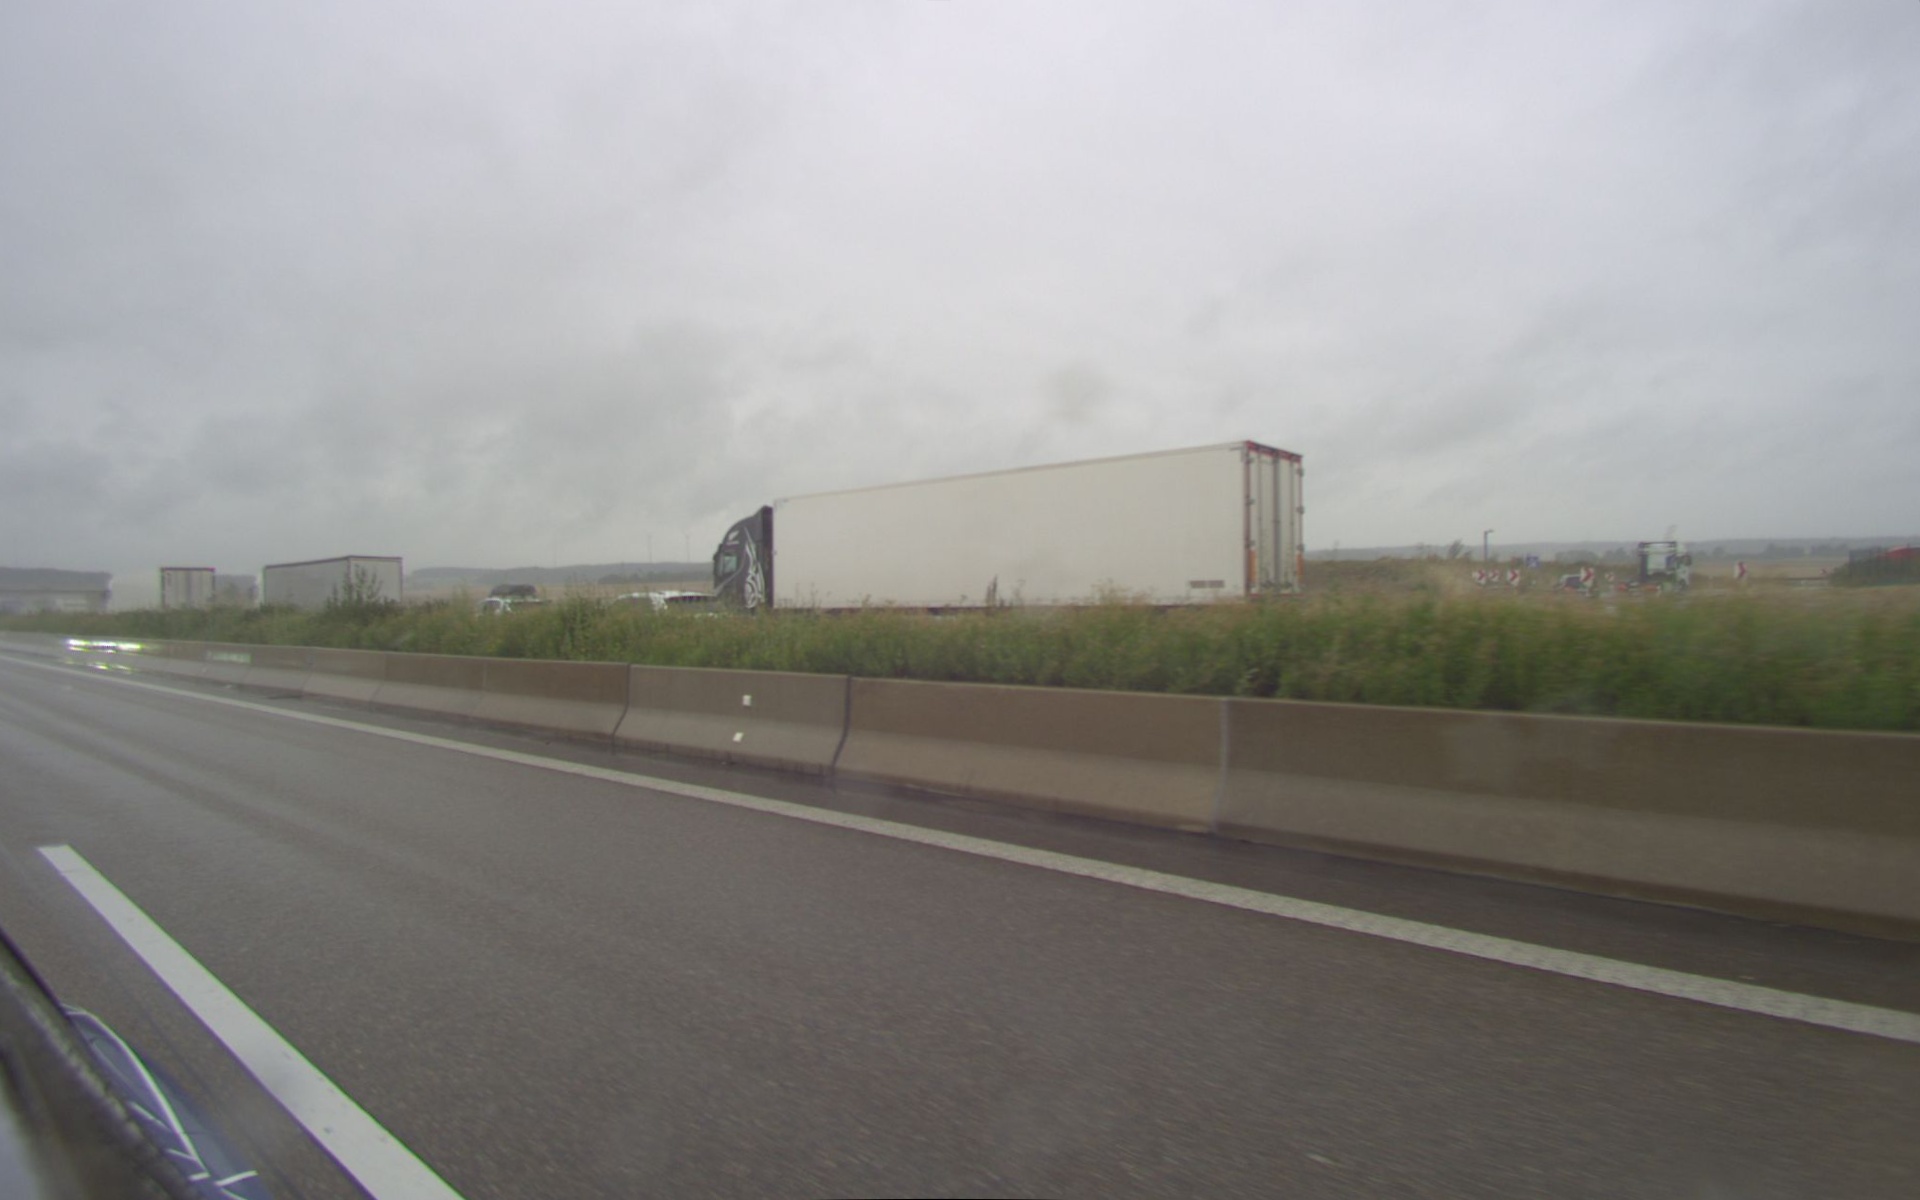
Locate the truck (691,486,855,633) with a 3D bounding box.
[{"bbox_3d":[-5.342,-1.018,28.551,4.811,3.809,1.973,-1,0,42],"label":"truck"}]

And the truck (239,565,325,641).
[{"bbox_3d":[-40.547,0.168,60.473,5.835,4.327,2.731,-1,0,40],"label":"truck"}]

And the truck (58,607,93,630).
[{"bbox_3d":[-115.401,2.351,132.053,8.284,2.930,2.788,0,0,44],"label":"truck"}]

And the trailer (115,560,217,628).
[{"bbox_3d":[-49.654,-0.244,63.061,12.400,3.881,2.788,-1,0,41],"label":"trailer"}]

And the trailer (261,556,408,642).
[{"bbox_3d":[-34.425,0.050,55.325,13.226,4.283,2.790,-1,0,40],"label":"trailer"}]

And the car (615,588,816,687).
[{"bbox_3d":[-4.624,0.654,18.832,3.998,1.630,1.585,-1,0,41],"label":"car"}]

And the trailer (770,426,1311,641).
[{"bbox_3d":[0.829,-1.067,23.152,13.852,3.793,1.973,-1,0,41],"label":"trailer"}]

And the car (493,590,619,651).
[{"bbox_3d":[-12.425,0.594,31.023,3.998,1.752,1.973,-1,0,41],"label":"car"}]
